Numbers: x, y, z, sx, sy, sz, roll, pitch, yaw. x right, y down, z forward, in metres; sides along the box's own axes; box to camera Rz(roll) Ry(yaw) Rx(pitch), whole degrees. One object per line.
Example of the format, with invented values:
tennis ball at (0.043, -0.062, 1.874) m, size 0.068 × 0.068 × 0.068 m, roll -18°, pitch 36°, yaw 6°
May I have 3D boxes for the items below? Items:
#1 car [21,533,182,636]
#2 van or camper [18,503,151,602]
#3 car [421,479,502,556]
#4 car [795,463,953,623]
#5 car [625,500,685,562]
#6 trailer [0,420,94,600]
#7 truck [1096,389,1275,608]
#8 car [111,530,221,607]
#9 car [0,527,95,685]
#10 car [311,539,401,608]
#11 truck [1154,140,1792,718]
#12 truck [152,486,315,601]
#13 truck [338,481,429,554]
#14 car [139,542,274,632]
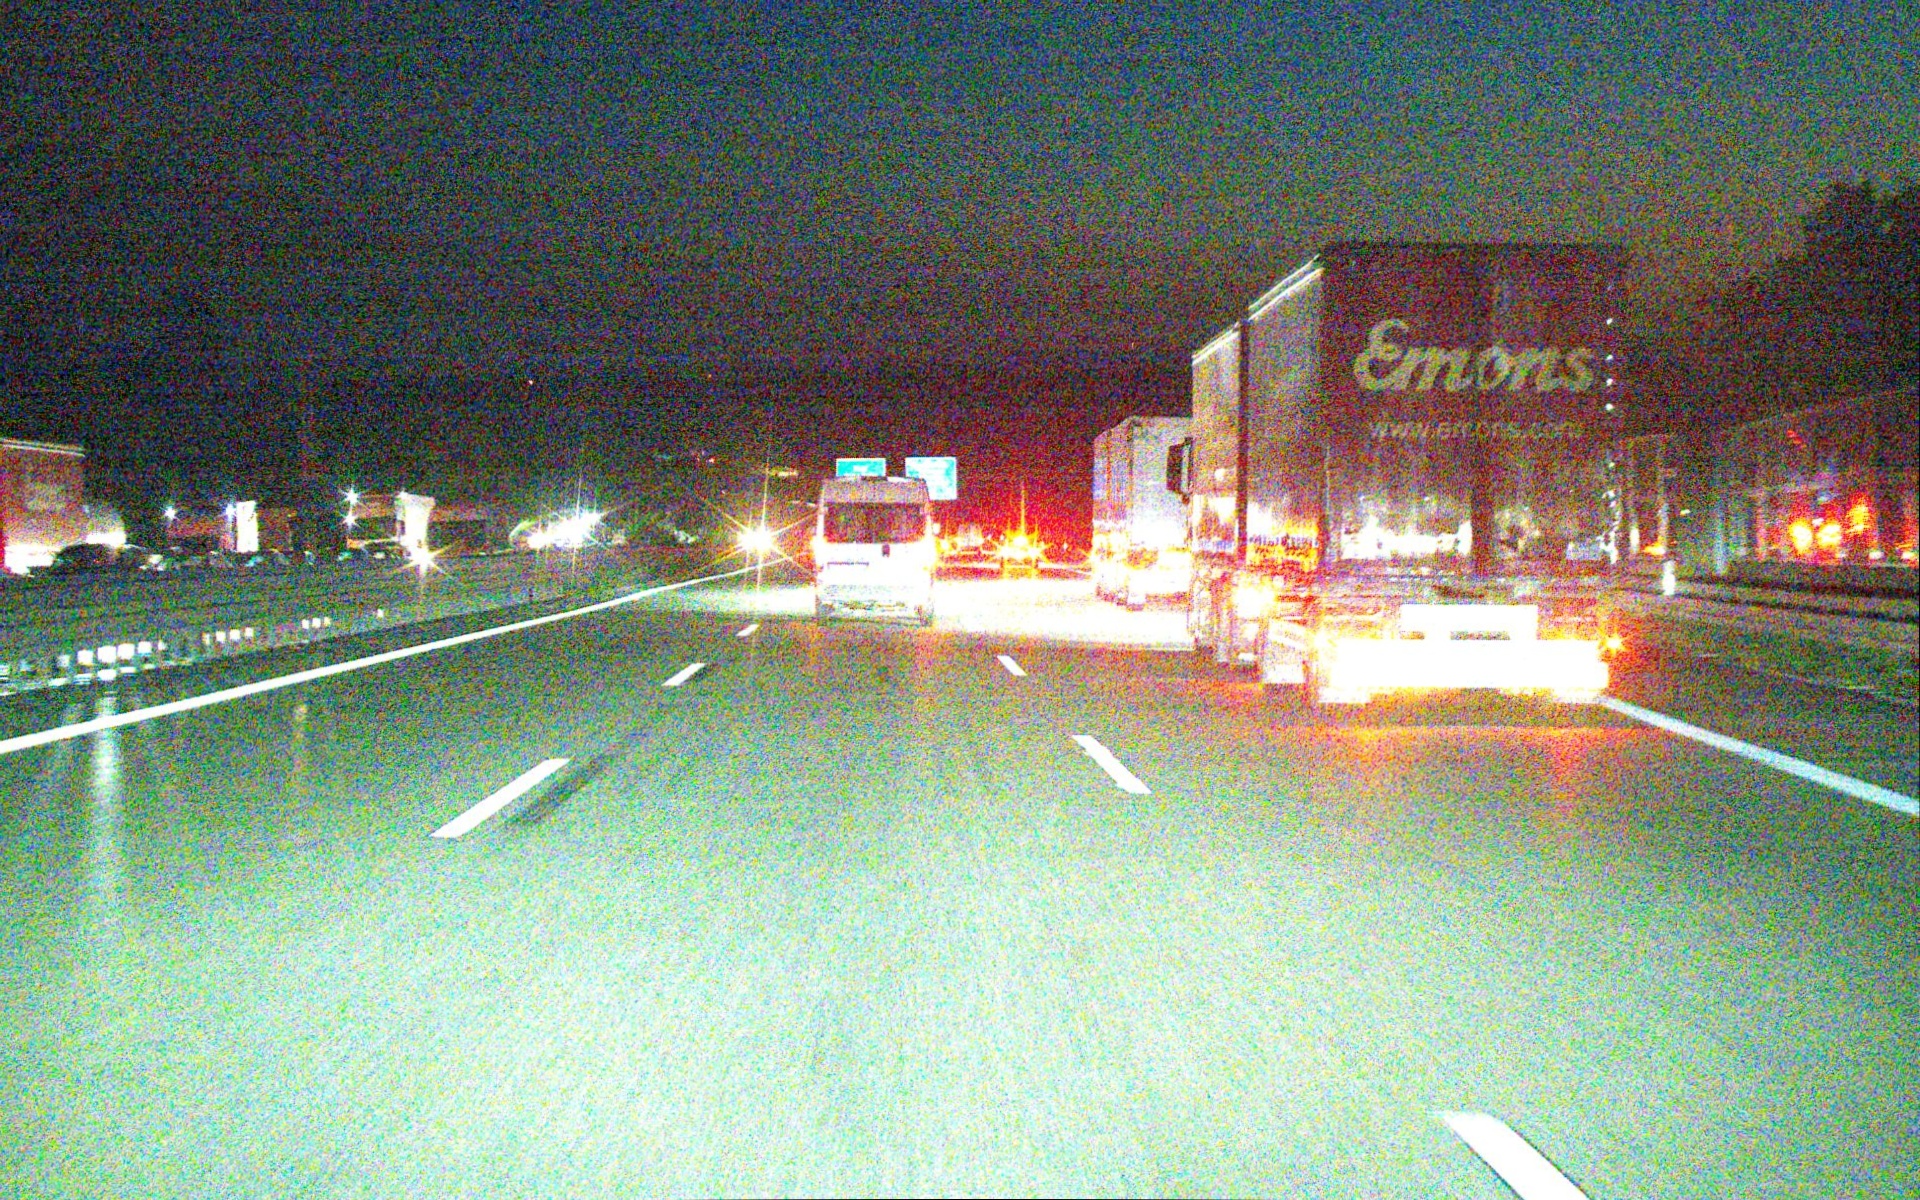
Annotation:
car at (-17.633, -0.303, 70.868) m, size 1.993 × 2.007 × 5.325 m, roll 1°, pitch 0°, yaw 0°
van or camper at (-25.917, -1.350, 102.049) m, size 2.281 × 2.799 × 7.583 m, roll 1°, pitch 0°, yaw -3°
car at (-13.870, -2.283, 95.755) m, size 1.993 × 2.007 × 4.001 m, roll 1°, pitch 0°, yaw -5°
car at (-1.433, -0.982, 59.686) m, size 2.337 × 2.631 × 5.247 m, roll -1°, pitch 1°, yaw 3°
car at (-10.529, -2.352, 118.608) m, size 1.993 × 2.007 × 4.001 m, roll 1°, pitch 0°, yaw -5°
trailer at (-21.982, -1.953, 74.387) m, size 2.885 × 3.836 × 15.069 m, roll 1°, pitch 0°, yaw -1°
truck at (4.896, -2.224, 77.404) m, size 3.344 × 4.460 × 13.910 m, roll 1°, pitch 1°, yaw 1°
car at (-21.814, -0.845, 94.619) m, size 1.993 × 2.007 × 5.325 m, roll 1°, pitch 0°, yaw -3°
car at (-13.160, 0.062, 45.584) m, size 1.993 × 2.007 × 5.324 m, roll 1°, pitch 0°, yaw 0°
car at (-18.419, -0.789, 105.081) m, size 1.993 × 2.007 × 5.325 m, roll 1°, pitch 0°, yaw -3°
truck at (4.853, -1.447, 39.047) m, size 3.915 × 4.611 × 21.018 m, roll -3°, pitch 0°, yaw 0°
truck at (-26.195, -1.927, 124.789) m, size 2.885 × 3.836 × 15.069 m, roll 1°, pitch 0°, yaw -1°
truck at (-27.569, -3.921, 164.683) m, size 3.169 × 3.211 × 7.448 m, roll 1°, pitch 0°, yaw -1°
car at (-17.627, -0.281, 80.702) m, size 1.993 × 2.007 × 5.325 m, roll 1°, pitch 0°, yaw 0°
